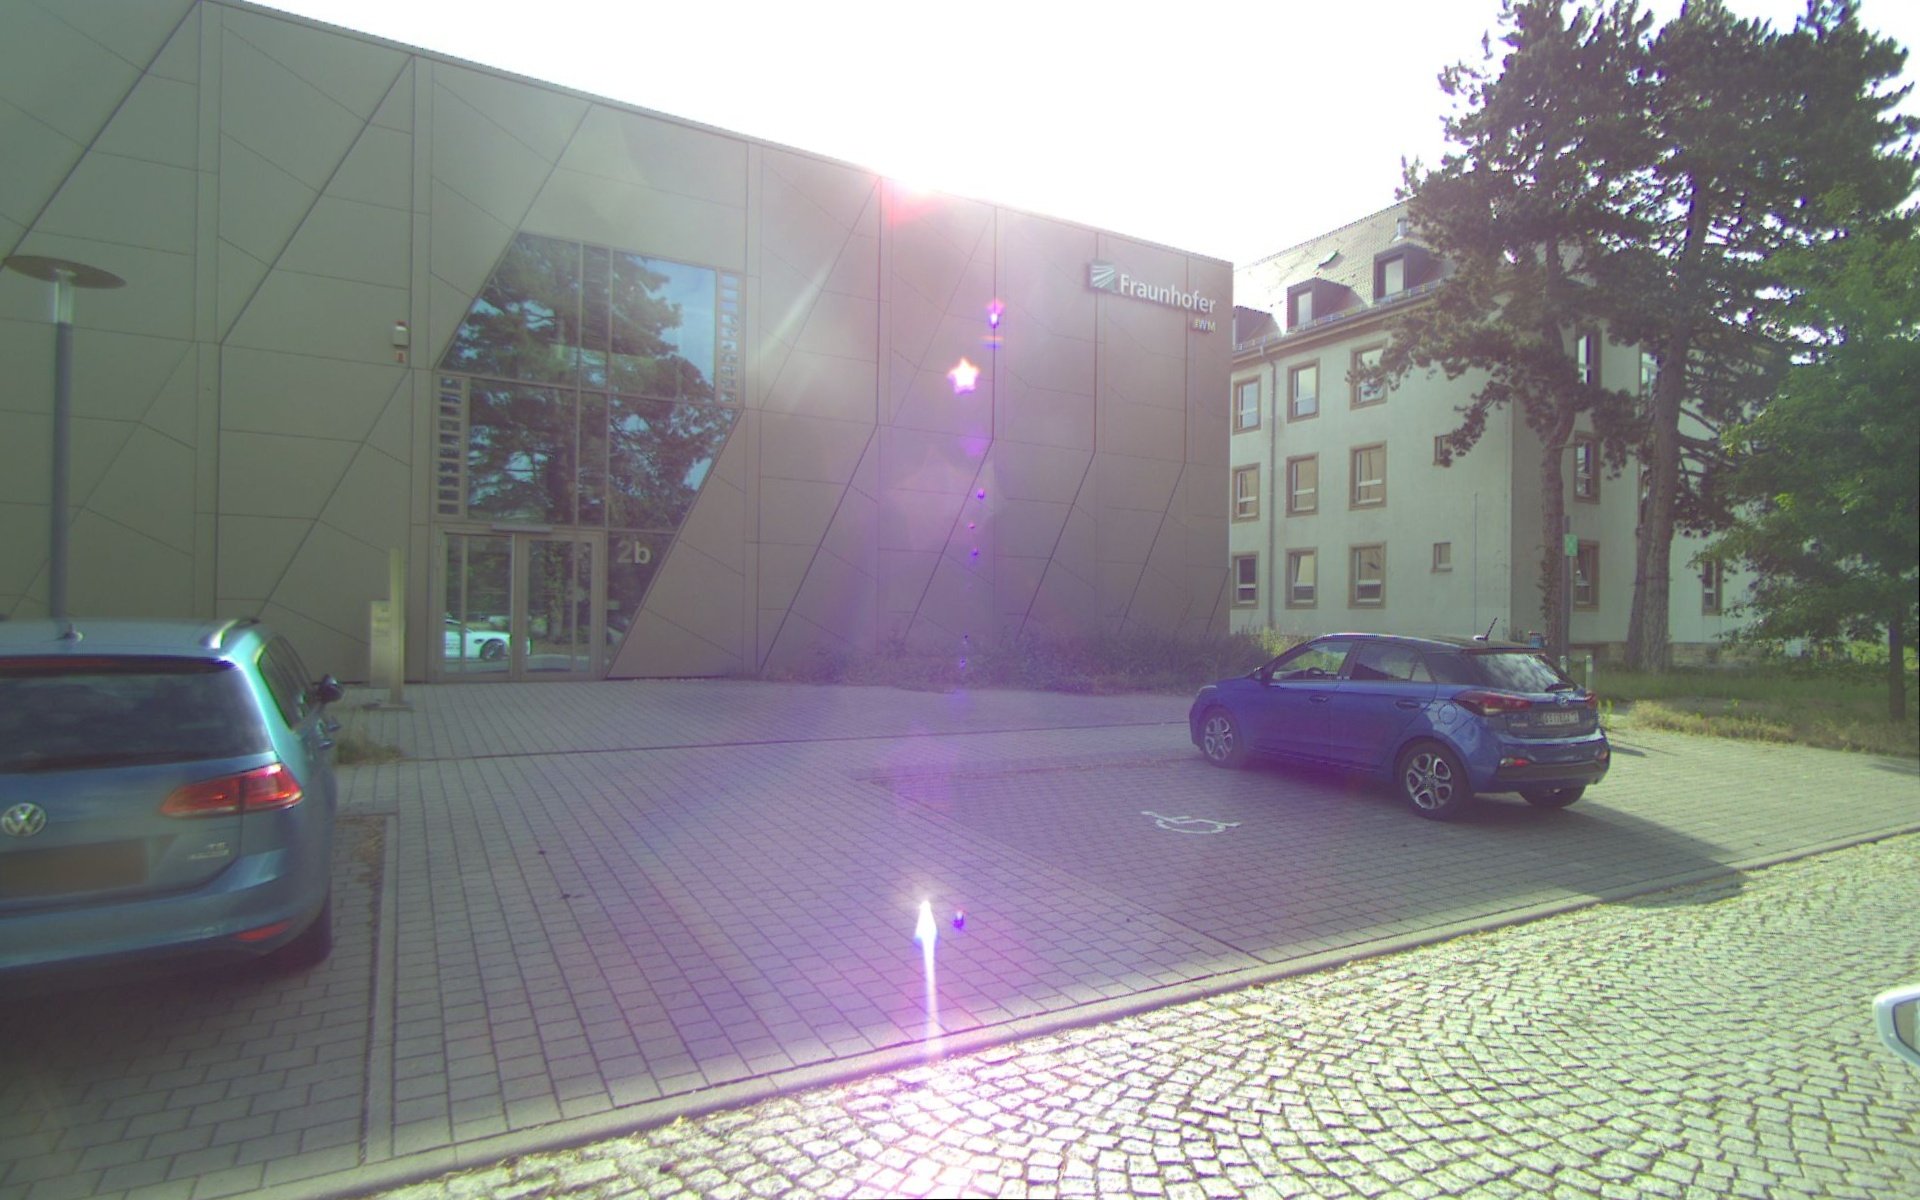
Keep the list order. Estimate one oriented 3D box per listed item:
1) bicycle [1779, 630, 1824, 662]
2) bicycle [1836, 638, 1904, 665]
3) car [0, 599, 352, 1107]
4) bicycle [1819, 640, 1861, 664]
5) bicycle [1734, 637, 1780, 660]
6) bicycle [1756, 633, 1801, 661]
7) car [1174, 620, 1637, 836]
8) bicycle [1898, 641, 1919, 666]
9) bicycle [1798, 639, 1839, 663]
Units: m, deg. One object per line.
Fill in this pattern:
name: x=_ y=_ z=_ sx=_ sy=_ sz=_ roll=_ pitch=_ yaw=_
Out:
bicycle: x=39.764 y=2.159 z=47.475 sx=2.523 sy=1.456 sz=0.822 roll=1 pitch=-1 yaw=-30
bicycle: x=39.888 y=2.235 z=44.056 sx=0.819 sy=1.123 sz=2.105 roll=1 pitch=-1 yaw=-32
car: x=-4.005 y=0.800 z=4.983 sx=1.662 sy=1.483 sz=4.234 roll=1 pitch=1 yaw=-31
bicycle: x=40.259 y=2.381 z=45.948 sx=2.099 sy=1.061 sz=0.822 roll=1 pitch=-1 yaw=-30
bicycle: x=38.703 y=2.344 z=48.788 sx=2.523 sy=1.061 sz=0.896 roll=1 pitch=-1 yaw=-30
bicycle: x=39.135 y=2.236 z=48.001 sx=2.523 sy=1.298 sz=0.822 roll=1 pitch=-1 yaw=-30
car: x=3.968 y=1.018 z=9.624 sx=1.698 sy=1.483 sz=3.820 roll=2 pitch=0 yaw=-28
bicycle: x=40.985 y=2.259 z=42.244 sx=0.819 sy=1.061 sz=2.105 roll=1 pitch=-1 yaw=-32
bicycle: x=39.848 y=2.371 z=46.611 sx=2.099 sy=1.061 sz=0.822 roll=1 pitch=-1 yaw=-30
